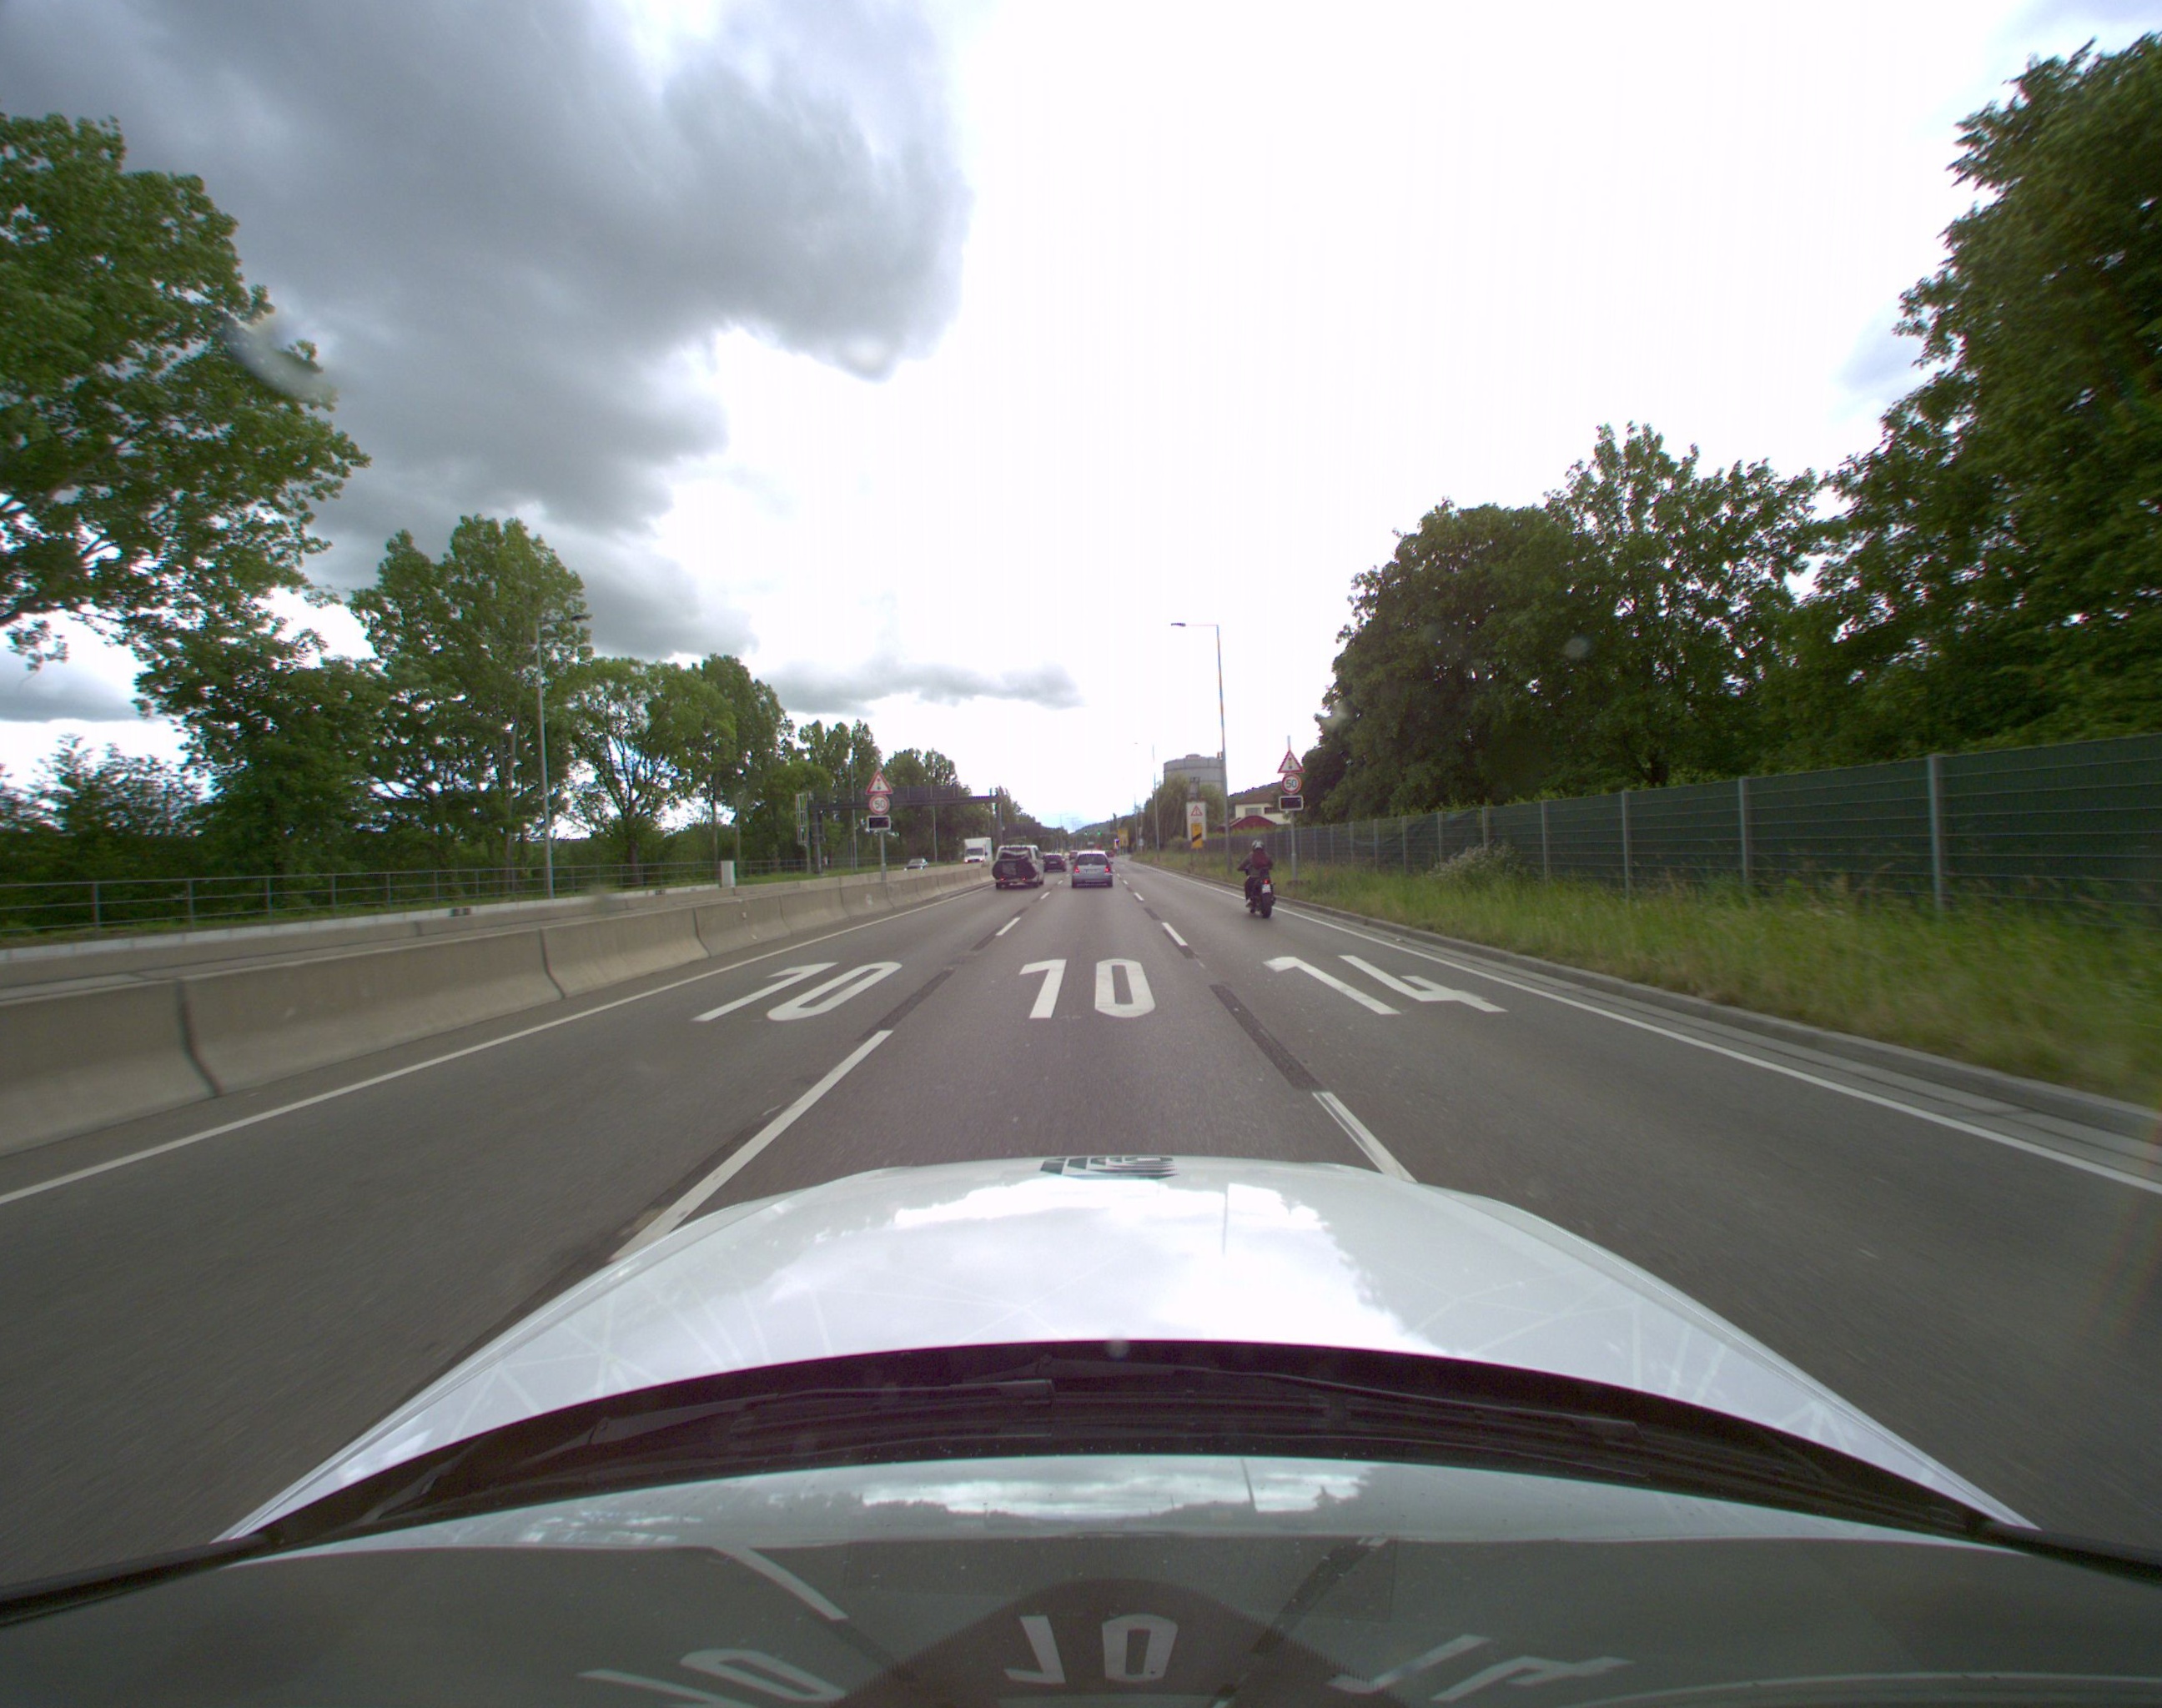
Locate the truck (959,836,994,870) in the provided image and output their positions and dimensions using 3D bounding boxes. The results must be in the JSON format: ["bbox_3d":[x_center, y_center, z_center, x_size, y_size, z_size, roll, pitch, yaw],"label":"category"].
[{"bbox_3d":[-9.933,-0.089,78.030,2.396,3.107,7.201,0,0,0],"label":"truck"}]

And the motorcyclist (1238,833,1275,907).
[{"bbox_3d":[3.921,0.342,18.222,0.682,1.610,0.846,0,0,3],"label":"motorcyclist"}]

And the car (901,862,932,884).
[{"bbox_3d":[-15.940,1.784,79.056,1.986,2.013,4.002,0,0,2],"label":"car"}]

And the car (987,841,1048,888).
[{"bbox_3d":[-2.716,0.424,36.128,2.207,1.925,5.003,0,0,1],"label":"car"}]

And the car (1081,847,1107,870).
[{"bbox_3d":[1.021,0.346,62.955,1.901,1.684,4.001,0,0,1],"label":"car"}]

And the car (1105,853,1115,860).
[{"bbox_3d":[6.197,0.504,175.531,1.987,1.552,4.000,0,0,0],"label":"car"}]

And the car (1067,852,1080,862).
[{"bbox_3d":[-1.255,0.446,135.017,1.987,1.552,4.000,0,0,0],"label":"car"}]

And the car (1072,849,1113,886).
[{"bbox_3d":[0.500,0.560,35.823,1.704,1.530,4.000,0,0,1],"label":"car"}]

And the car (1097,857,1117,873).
[{"bbox_3d":[2.499,1.034,78.047,1.833,1.464,4.001,0,0,1],"label":"car"}]

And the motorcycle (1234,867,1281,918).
[{"bbox_3d":[3.924,0.825,18.205,0.703,1.040,2.028,0,0,3],"label":"motorcycle"}]

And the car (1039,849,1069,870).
[{"bbox_3d":[-2.079,0.432,62.897,1.986,1.552,4.002,0,0,2],"label":"car"}]
